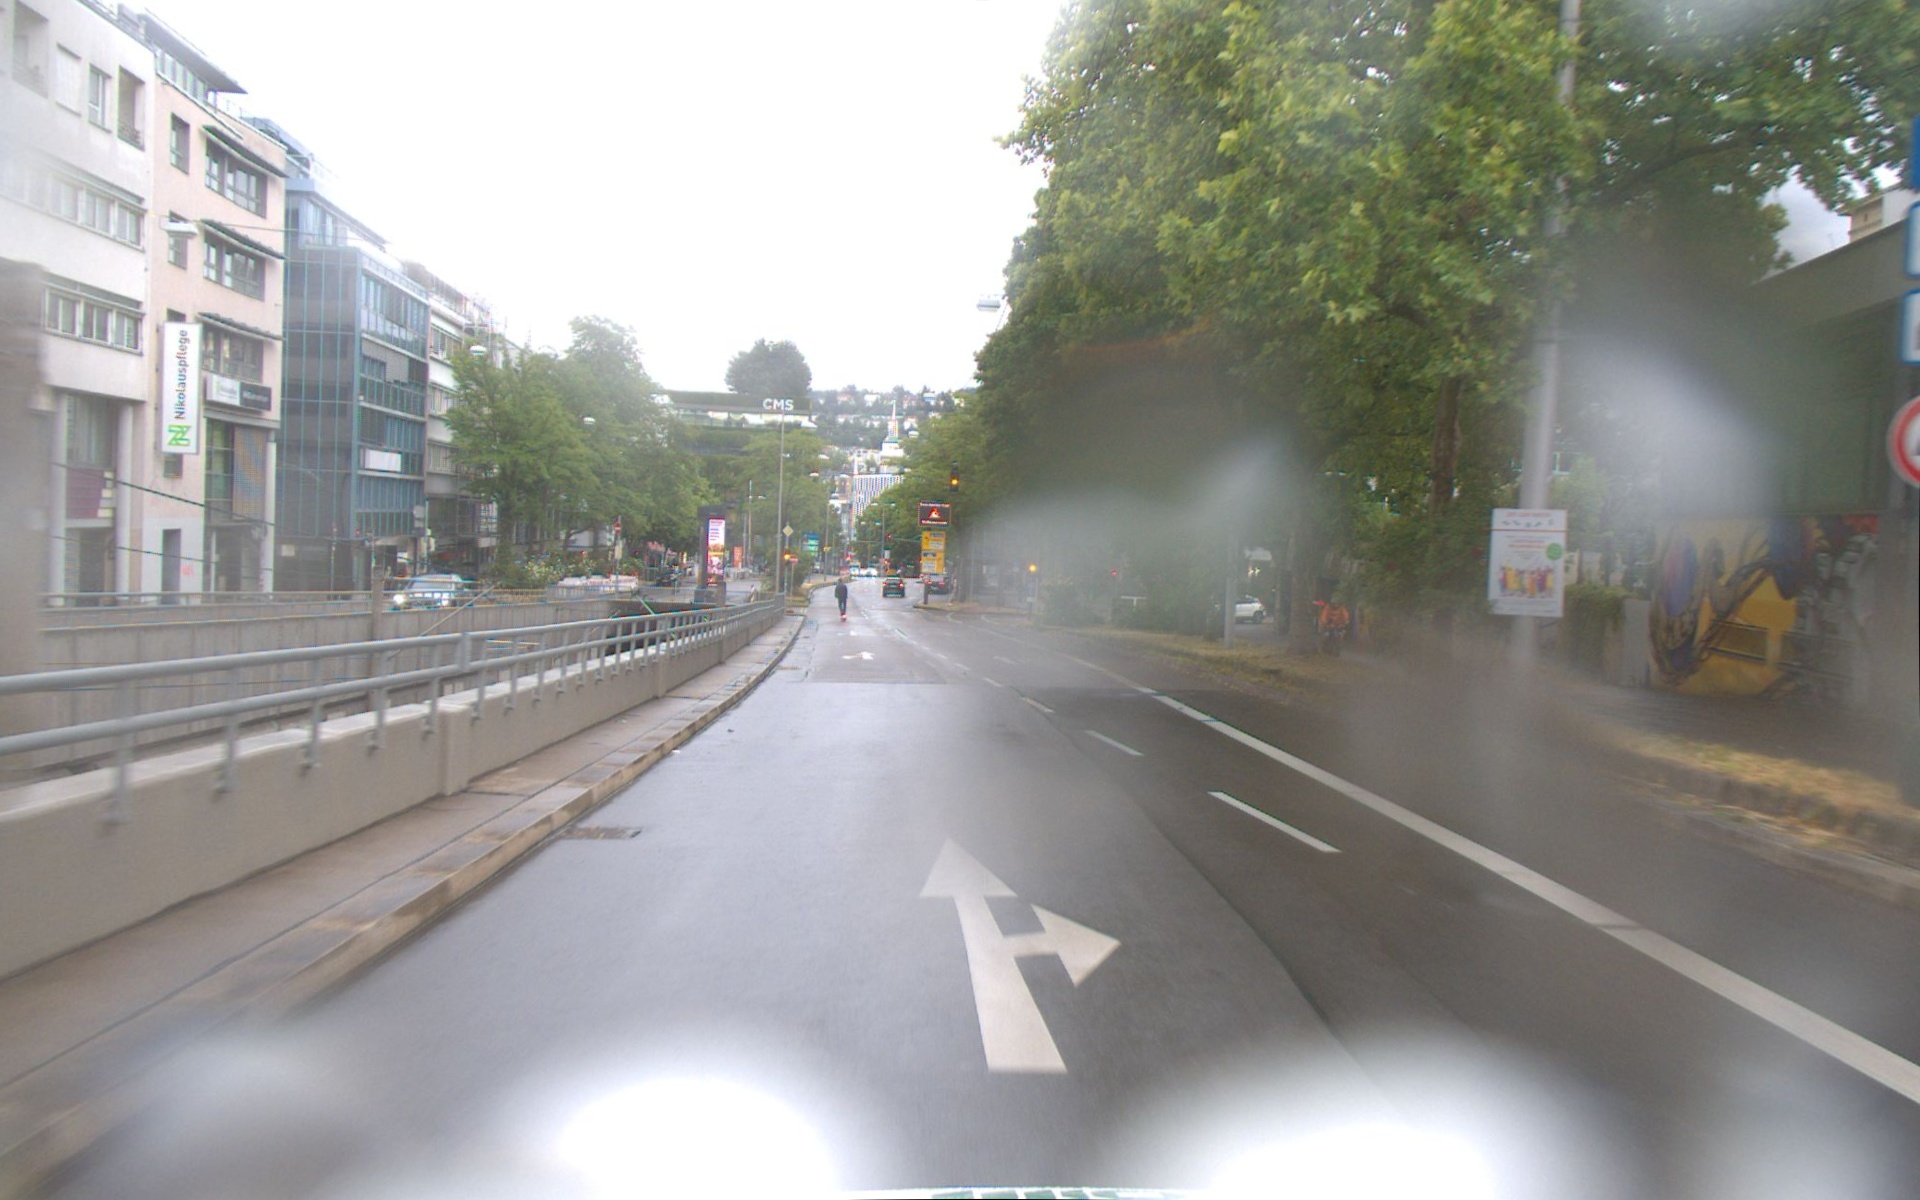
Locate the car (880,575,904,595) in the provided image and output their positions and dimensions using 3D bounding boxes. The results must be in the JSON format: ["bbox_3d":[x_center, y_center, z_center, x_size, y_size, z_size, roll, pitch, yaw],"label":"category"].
[{"bbox_3d":[-5.533,-1.229,133.544,1.712,1.545,4.103,3,1,-5],"label":"car"}]

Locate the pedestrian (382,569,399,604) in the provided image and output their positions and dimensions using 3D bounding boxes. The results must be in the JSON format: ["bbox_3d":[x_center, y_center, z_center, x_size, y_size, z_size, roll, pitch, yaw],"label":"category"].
[{"bbox_3d":[-27.967,-0.663,81.189,0.651,1.701,0.487,2,0,-6],"label":"pedestrian"}]

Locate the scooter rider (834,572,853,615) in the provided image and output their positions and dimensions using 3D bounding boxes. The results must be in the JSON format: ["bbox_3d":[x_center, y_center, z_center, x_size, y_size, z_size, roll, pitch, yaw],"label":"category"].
[{"bbox_3d":[-5.494,-0.334,78.023,0.793,1.982,0.821,3,0,-6],"label":"scooter rider"}]

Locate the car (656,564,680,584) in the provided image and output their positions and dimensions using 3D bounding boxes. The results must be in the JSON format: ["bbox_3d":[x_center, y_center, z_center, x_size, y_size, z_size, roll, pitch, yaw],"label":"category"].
[{"bbox_3d":[-25.891,-2.309,146.601,1.746,1.582,3.890,3,3,-5],"label":"car"}]

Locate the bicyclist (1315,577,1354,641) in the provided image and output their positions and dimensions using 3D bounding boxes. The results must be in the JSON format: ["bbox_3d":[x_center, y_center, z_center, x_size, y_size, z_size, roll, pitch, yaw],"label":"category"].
[{"bbox_3d":[9.930,0.235,43.889,0.790,1.656,1.047,2,0,2],"label":"bicyclist"}]

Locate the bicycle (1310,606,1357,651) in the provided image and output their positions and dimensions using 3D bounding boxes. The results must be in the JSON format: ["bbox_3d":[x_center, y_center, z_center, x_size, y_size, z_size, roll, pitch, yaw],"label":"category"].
[{"bbox_3d":[9.911,0.740,43.975,0.790,1.131,2.199,2,0,2],"label":"bicycle"}]

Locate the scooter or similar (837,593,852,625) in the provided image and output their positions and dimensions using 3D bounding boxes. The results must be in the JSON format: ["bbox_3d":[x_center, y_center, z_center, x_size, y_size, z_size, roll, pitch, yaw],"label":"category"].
[{"bbox_3d":[-5.428,0.428,77.681,0.535,1.443,1.953,2,0,-6],"label":"scooter or similar"}]

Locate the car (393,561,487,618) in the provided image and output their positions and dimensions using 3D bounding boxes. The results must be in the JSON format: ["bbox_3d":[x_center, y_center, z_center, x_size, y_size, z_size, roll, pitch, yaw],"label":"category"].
[{"bbox_3d":[-17.047,-0.374,54.408,1.800,1.742,4.575,2,1,-3],"label":"car"}]

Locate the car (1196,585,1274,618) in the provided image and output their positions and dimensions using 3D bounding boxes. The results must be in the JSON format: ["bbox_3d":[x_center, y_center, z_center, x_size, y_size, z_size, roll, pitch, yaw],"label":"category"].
[{"bbox_3d":[15.981,0.111,96.012,4.297,1.713,1.734,2,0,-30],"label":"car"}]

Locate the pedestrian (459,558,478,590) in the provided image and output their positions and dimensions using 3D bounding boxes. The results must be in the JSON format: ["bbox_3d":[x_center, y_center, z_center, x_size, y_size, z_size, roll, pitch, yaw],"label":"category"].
[{"bbox_3d":[-29.989,-1.595,100.977,0.860,1.901,0.866,3,0,-6],"label":"pedestrian"}]

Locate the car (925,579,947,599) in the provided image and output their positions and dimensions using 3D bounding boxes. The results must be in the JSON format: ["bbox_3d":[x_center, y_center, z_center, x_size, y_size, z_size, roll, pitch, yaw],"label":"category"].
[{"bbox_3d":[-2.175,-0.998,148.721,1.863,1.713,3.910,3,1,-1],"label":"car"}]

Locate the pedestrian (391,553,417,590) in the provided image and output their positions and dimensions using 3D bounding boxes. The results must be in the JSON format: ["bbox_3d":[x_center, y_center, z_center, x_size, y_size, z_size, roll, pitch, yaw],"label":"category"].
[{"bbox_3d":[-29.367,-1.487,87.345,0.846,1.901,0.960,3,0,14],"label":"pedestrian"}]

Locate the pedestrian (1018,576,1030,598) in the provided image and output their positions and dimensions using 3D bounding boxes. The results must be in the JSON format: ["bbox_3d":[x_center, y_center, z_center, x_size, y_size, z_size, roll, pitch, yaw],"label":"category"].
[{"bbox_3d":[4.839,-0.988,125.478,0.770,1.584,0.532,3,0,-3],"label":"pedestrian"}]

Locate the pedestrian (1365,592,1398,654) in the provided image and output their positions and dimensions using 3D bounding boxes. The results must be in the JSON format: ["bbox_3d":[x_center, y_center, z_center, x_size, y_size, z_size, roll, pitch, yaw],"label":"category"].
[{"bbox_3d":[13.056,0.706,51.246,0.790,1.897,1.056,1,0,5],"label":"pedestrian"}]
